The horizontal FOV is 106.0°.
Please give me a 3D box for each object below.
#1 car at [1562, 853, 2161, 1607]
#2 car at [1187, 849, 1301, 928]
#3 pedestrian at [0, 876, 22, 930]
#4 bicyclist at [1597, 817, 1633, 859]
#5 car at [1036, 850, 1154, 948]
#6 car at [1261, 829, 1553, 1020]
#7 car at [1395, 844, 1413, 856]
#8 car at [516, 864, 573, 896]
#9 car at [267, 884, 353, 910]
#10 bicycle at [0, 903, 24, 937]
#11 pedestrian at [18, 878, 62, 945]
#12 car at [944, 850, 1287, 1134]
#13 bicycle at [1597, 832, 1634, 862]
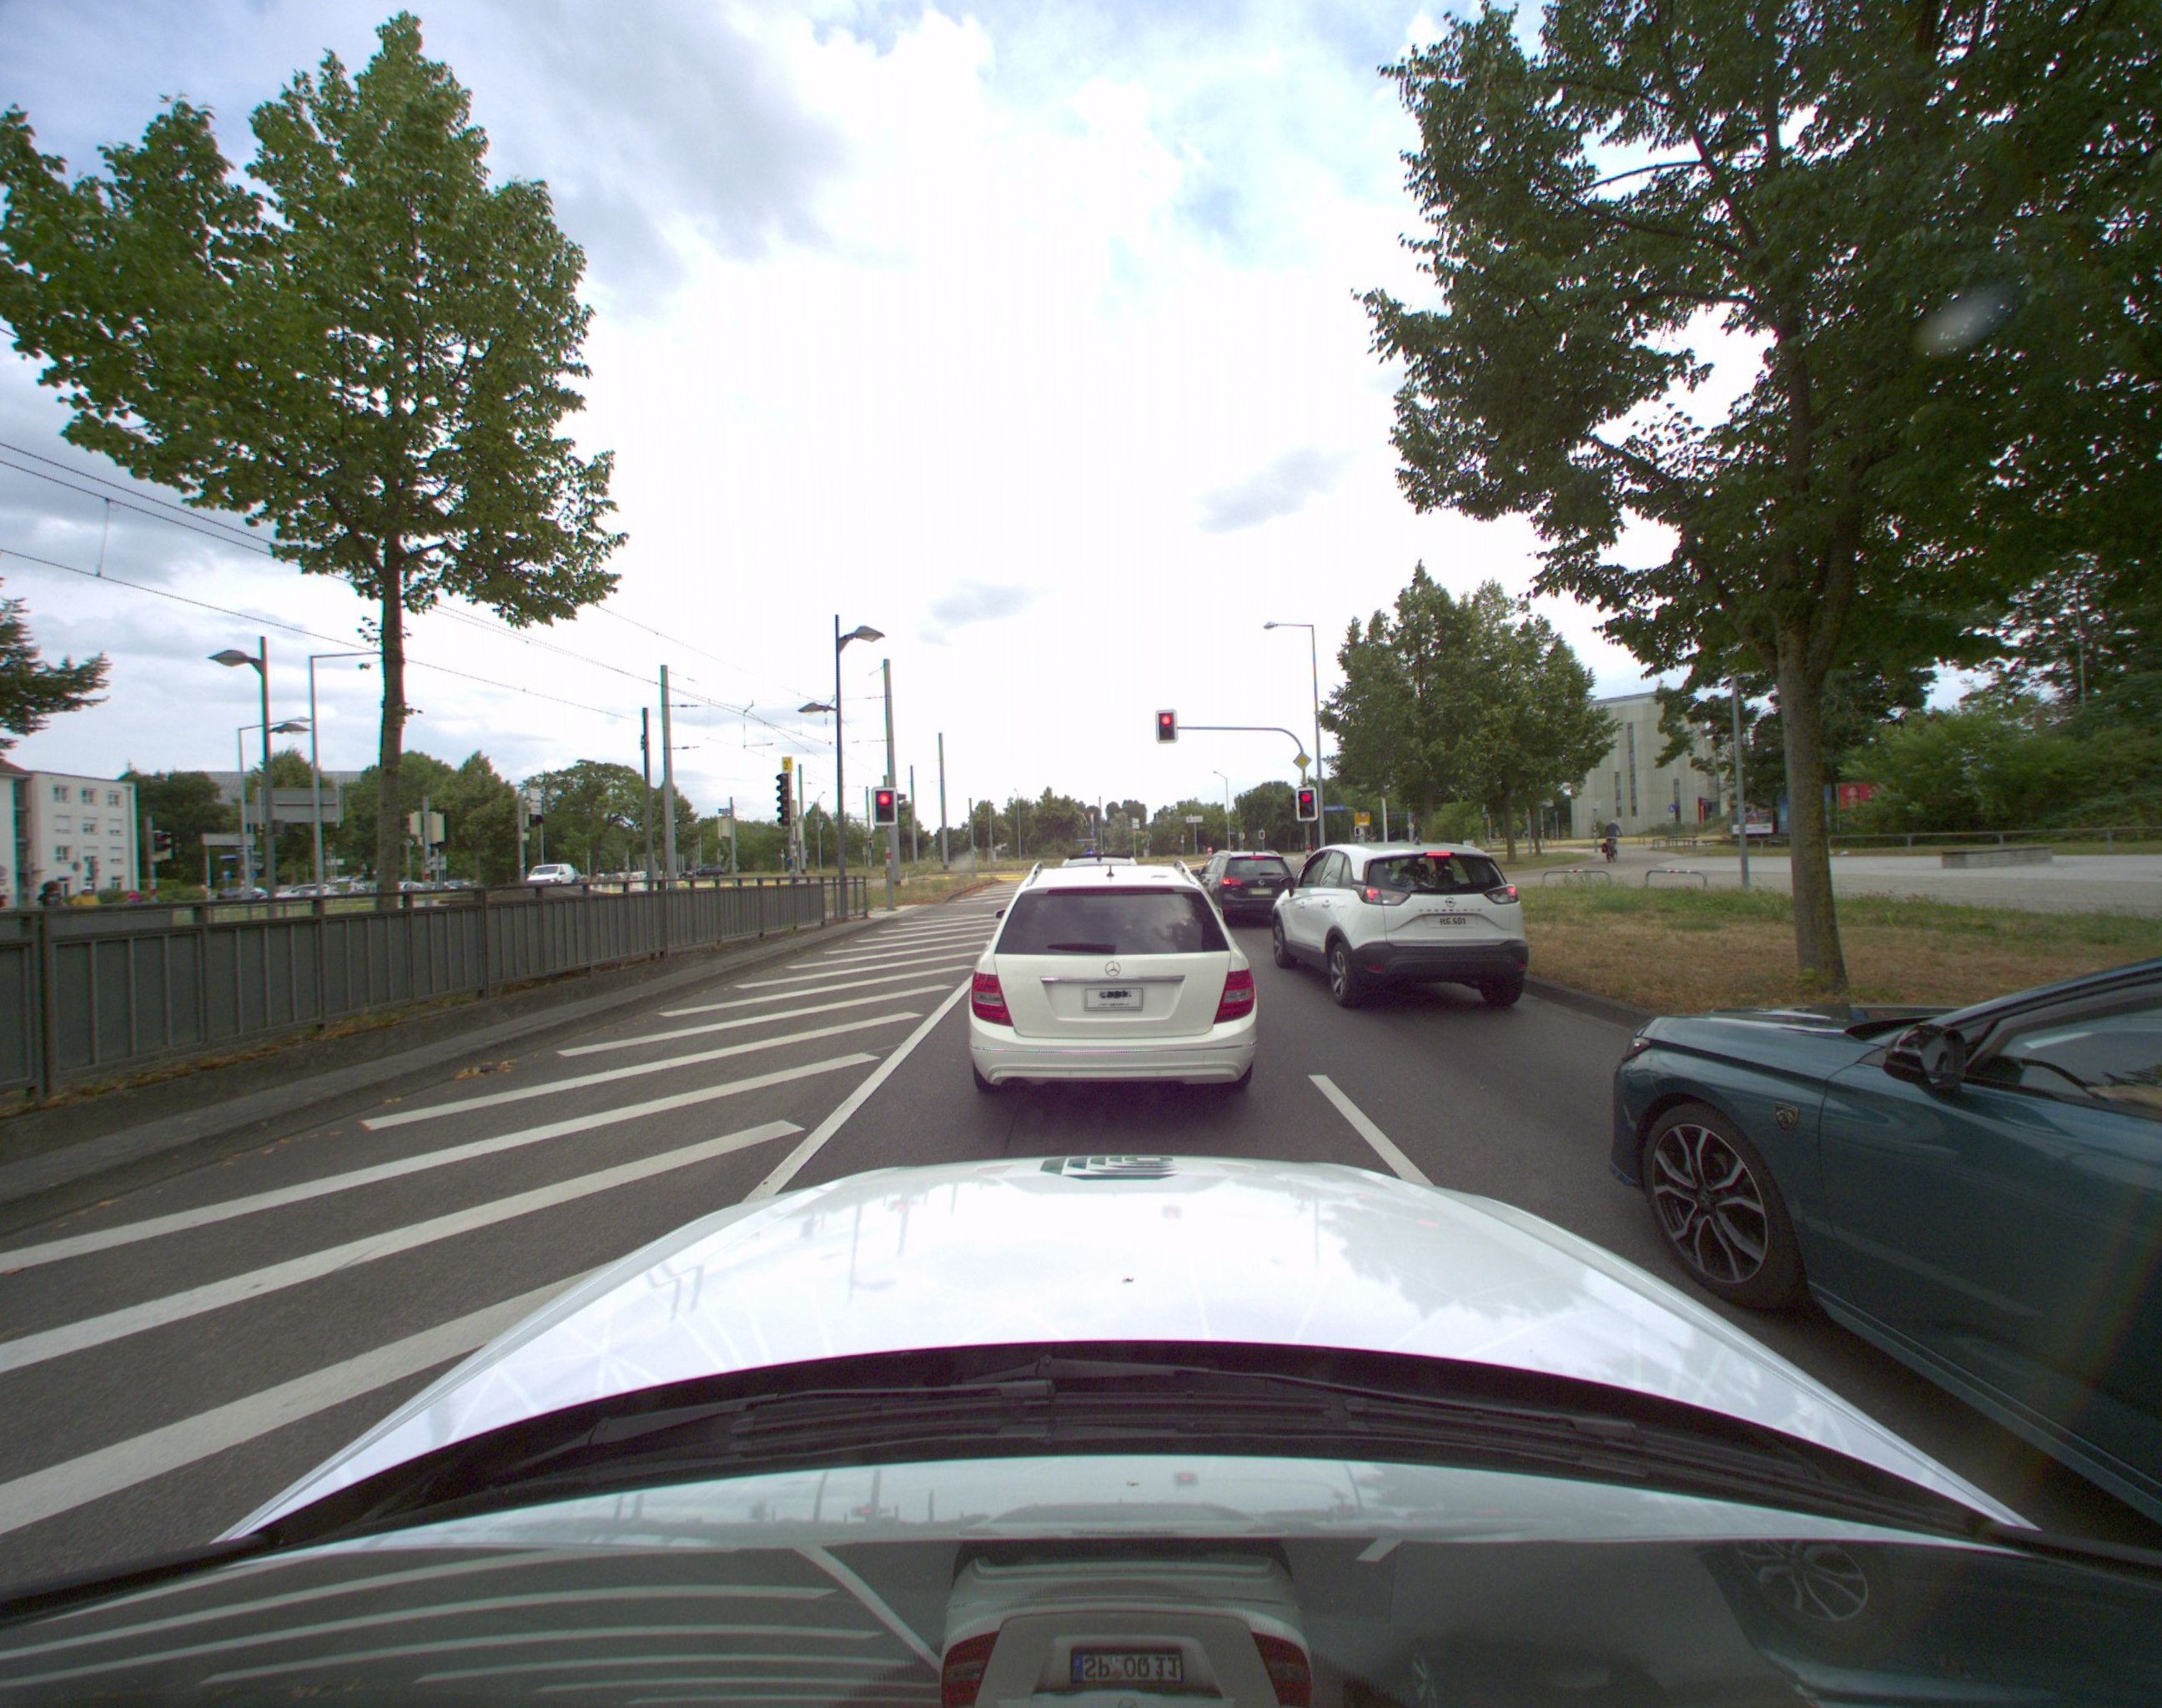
[{"bbox_3d":[2.994,0.739,1.341,1.782,1.432,4.308,-1,0,-1],"label":"car"},{"bbox_3d":[3.297,0.635,17.191,1.619,1.448,3.910,-1,0,0],"label":"car"},{"bbox_3d":[-41.273,1.887,31.112,0.804,2.013,0.899,-2,0,-43],"label":"pedestrian"},{"bbox_3d":[23.539,-0.701,35.914,1.136,1.737,0.987,-5,0,-44],"label":"bicyclist"},{"bbox_3d":[0.207,0.674,14.270,1.768,1.448,3.910,-1,0,0],"label":"car"},{"bbox_3d":[3.308,0.613,9.151,1.780,1.624,3.912,-2,0,2],"label":"car"},{"bbox_3d":[50.836,-0.567,128.159,1.974,1.791,4.025,0,0,33],"label":"car"},{"bbox_3d":[-36.483,1.719,55.534,2.000,2.013,4.968,-2,0,-19],"label":"car"},{"bbox_3d":[-54.280,2.998,57.400,1.974,1.641,4.025,0,0,33],"label":"car"},{"bbox_3d":[-41.281,2.519,31.116,0.616,1.136,2.535,1,0,-42],"label":"bicycle"},{"bbox_3d":[-29.824,1.620,23.332,0.653,1.850,0.486,-2,0,-42],"label":"pedestrian"},{"bbox_3d":[0.184,0.710,6.192,1.768,1.448,3.910,-1,0,0],"label":"car"},{"bbox_3d":[23.633,-0.310,35.975,2.281,1.235,0.893,-2,0,-45],"label":"bicycle"}]
